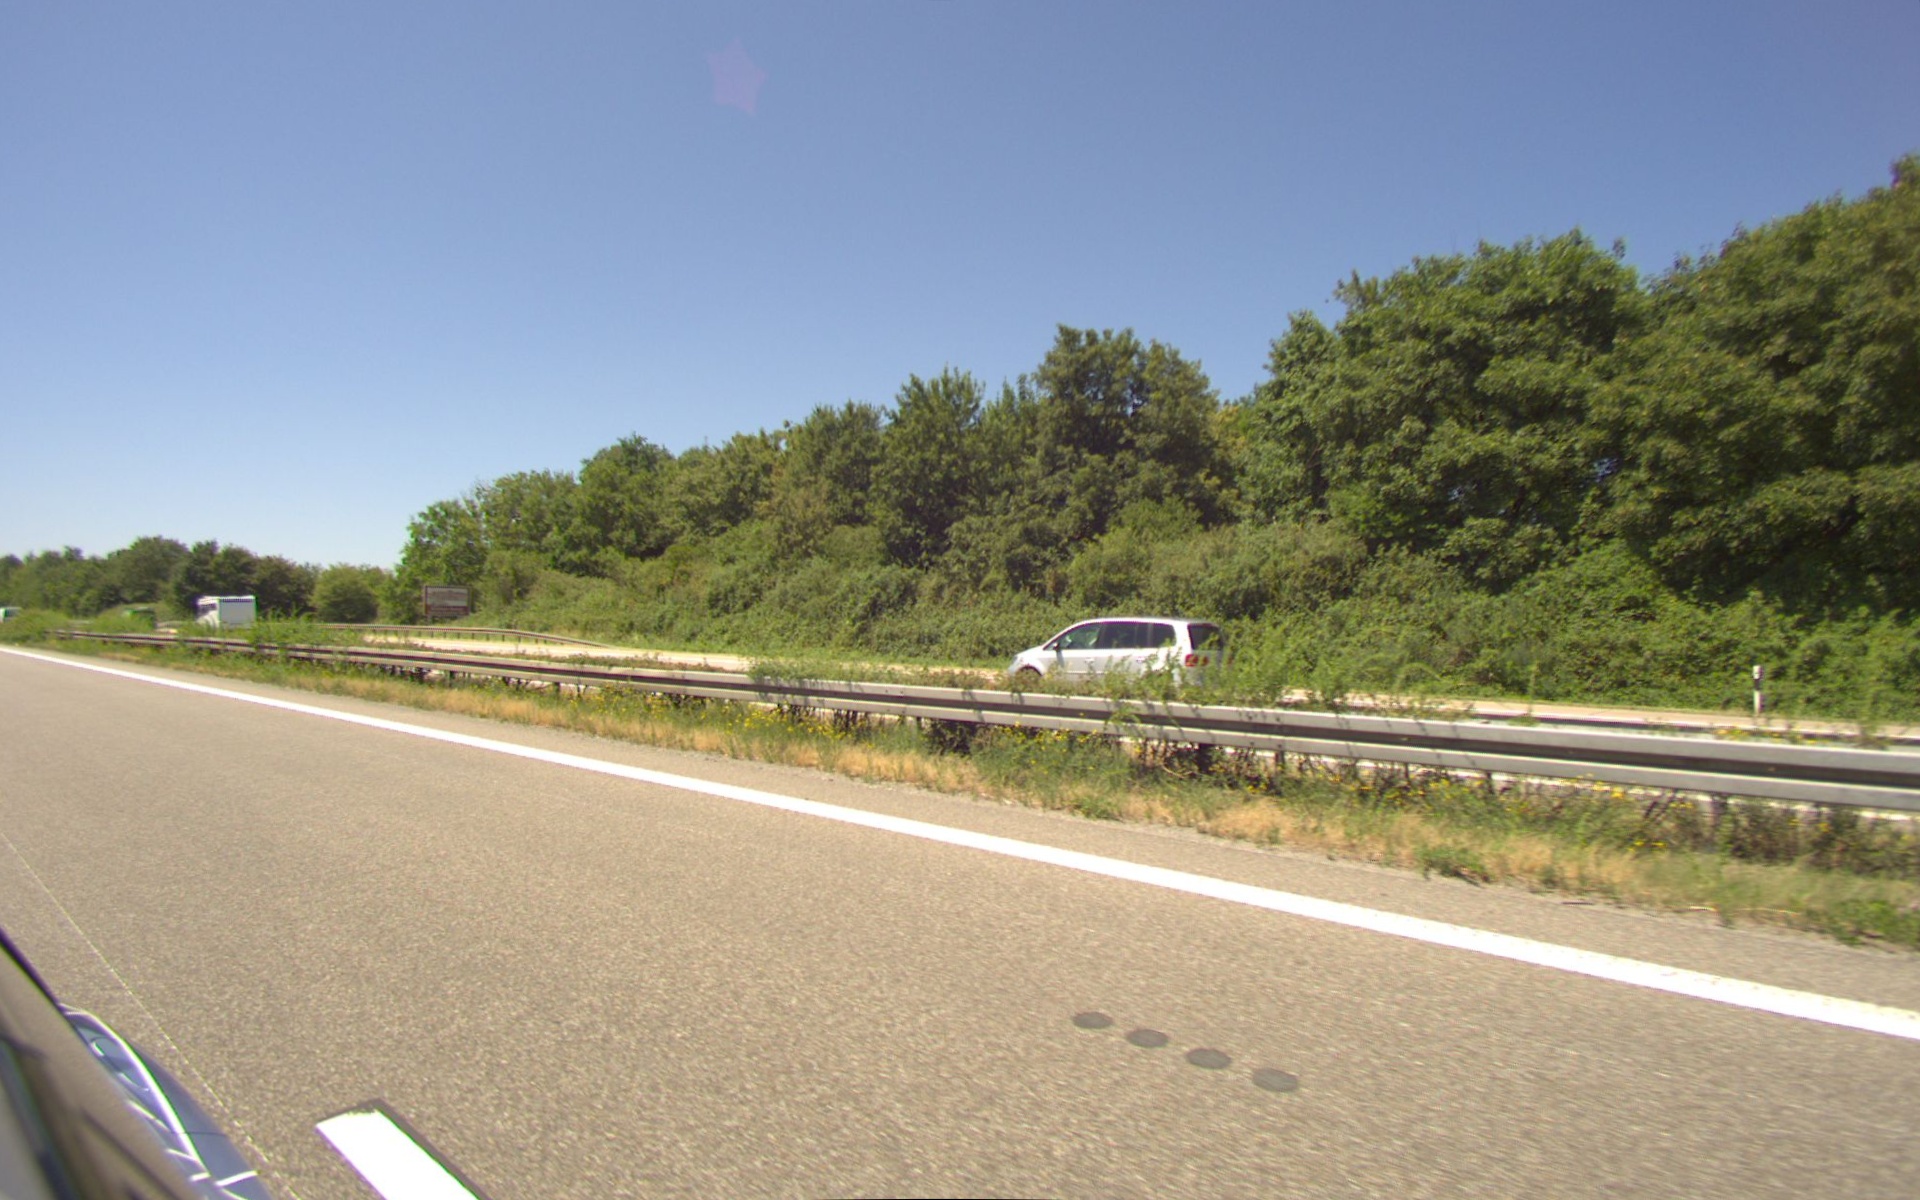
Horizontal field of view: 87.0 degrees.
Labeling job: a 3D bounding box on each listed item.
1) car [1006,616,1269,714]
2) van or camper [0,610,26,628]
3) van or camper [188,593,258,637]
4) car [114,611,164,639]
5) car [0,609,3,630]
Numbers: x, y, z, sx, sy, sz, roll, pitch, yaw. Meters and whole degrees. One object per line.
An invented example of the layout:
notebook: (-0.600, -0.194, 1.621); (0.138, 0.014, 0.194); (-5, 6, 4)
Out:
car: (3.080, 1.056, 18.158); (4.414, 1.519, 1.724); (-1, 0, 41)
van or camper: (-114.889, 2.279, 122.027); (6.743, 2.203, 2.579); (-1, -2, 41)
van or camper: (-54.126, 1.116, 74.243); (7.753, 3.026, 2.579); (-1, -2, 42)
car: (-67.008, 1.995, 82.564); (5.943, 2.203, 2.258); (-1, -2, 41)
car: (-103.317, 2.040, 107.232); (6.383, 2.203, 2.208); (-1, -2, 41)
